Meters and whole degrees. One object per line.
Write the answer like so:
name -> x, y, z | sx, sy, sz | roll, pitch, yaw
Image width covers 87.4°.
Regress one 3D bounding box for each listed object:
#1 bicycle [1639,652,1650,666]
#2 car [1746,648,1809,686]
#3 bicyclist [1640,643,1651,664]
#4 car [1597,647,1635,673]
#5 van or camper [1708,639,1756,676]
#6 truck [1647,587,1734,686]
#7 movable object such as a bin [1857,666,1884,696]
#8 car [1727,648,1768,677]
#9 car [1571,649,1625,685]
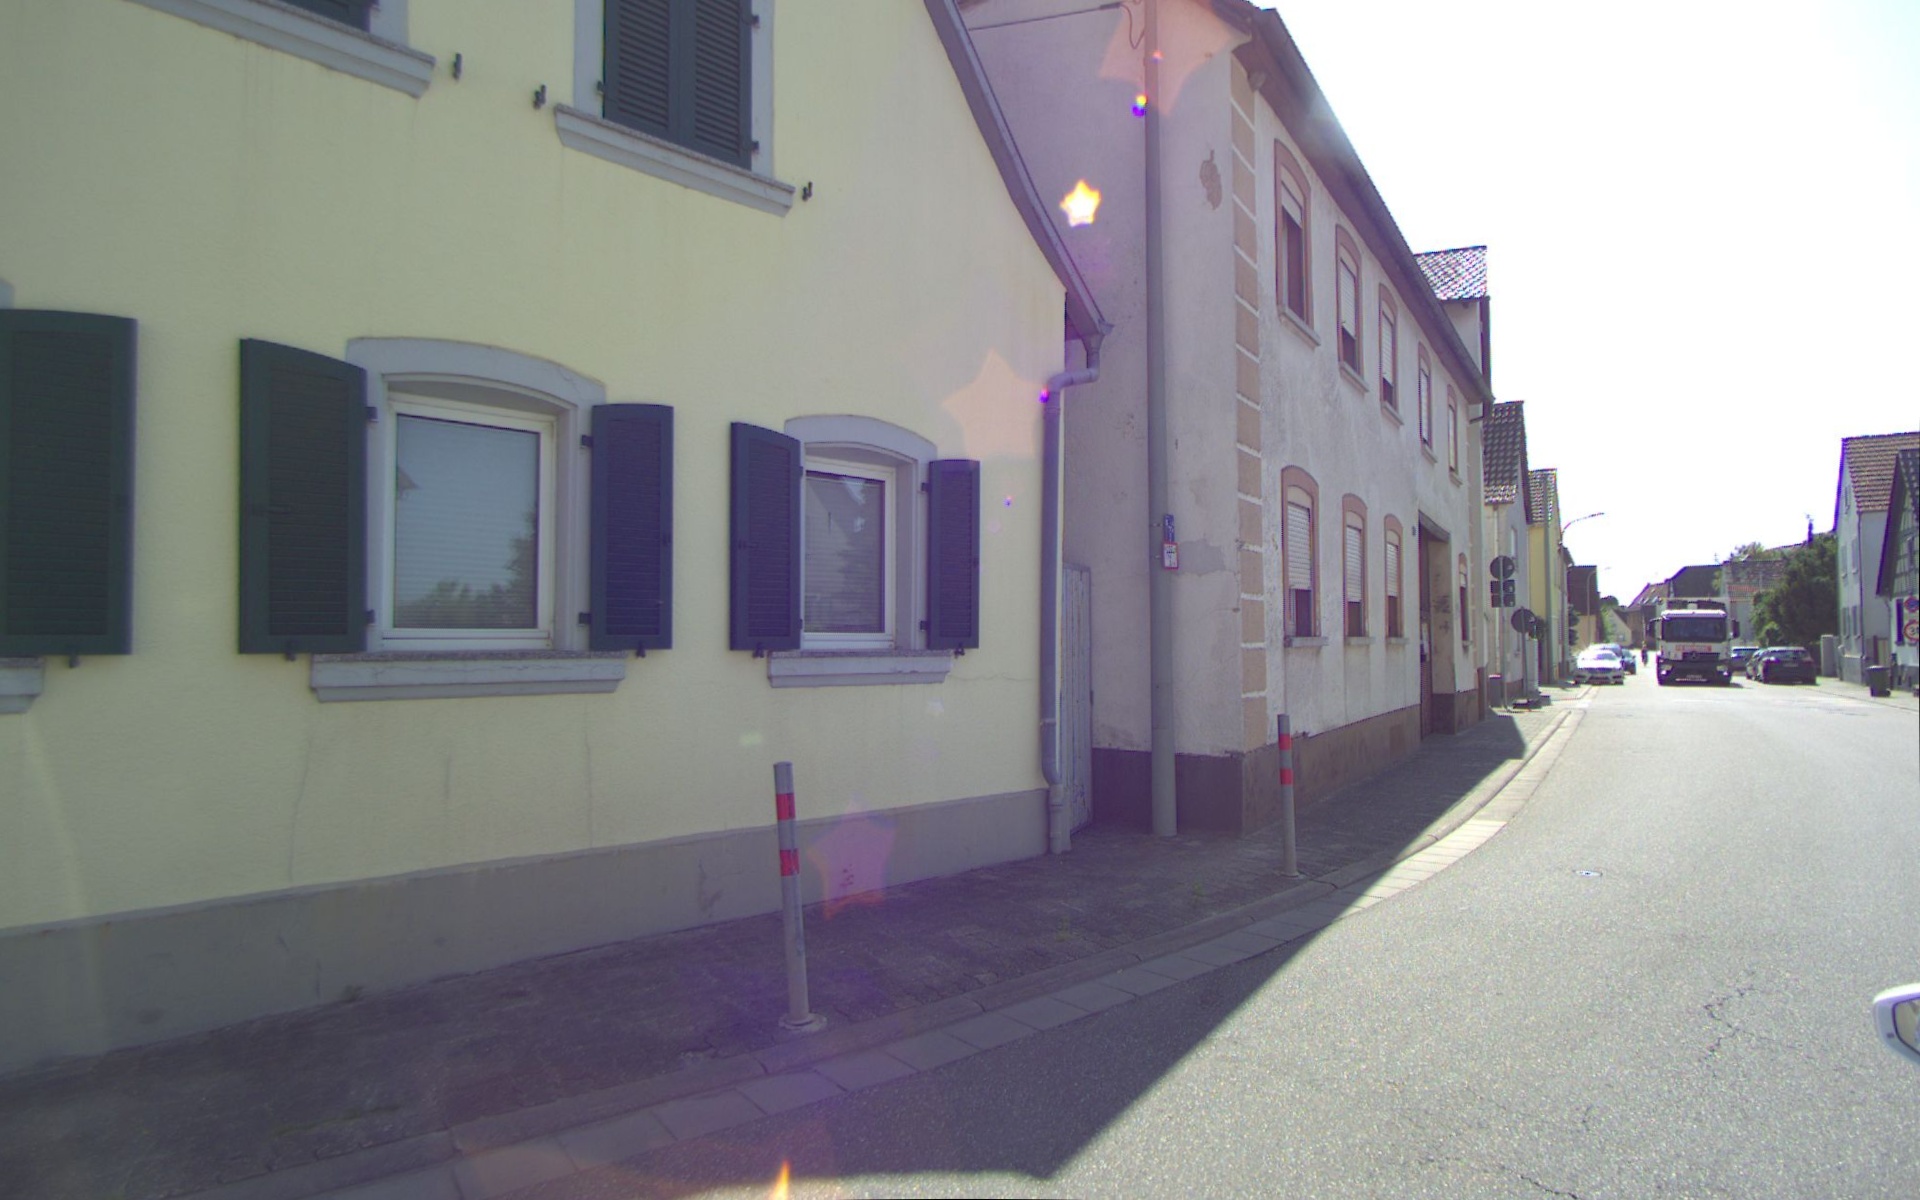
bicycle -> 57.607, 4.961, 84.526 | 0.581, 1.163, 1.945 | -2, -3, 30
car -> 36.376, 2.951, 44.783 | 1.774, 1.580, 4.618 | -2, -4, 34
bicyclist -> 57.696, 4.496, 84.552 | 0.694, 1.794, 0.623 | -2, -3, 33
car -> 40.906, 3.731, 62.631 | 1.820, 1.546, 4.751 | -2, -3, 35
van or camper -> 59.688, 4.436, 77.721 | 2.487, 2.732, 4.544 | -2, -4, 33
truck -> 31.899, 1.660, 43.974 | 2.661, 3.799, 10.833 | -2, -3, 36
movable object such as a bin -> 28.722, 2.544, 31.694 | 0.547, 0.925, 0.534 | 3, -4, -39
car -> 45.661, 3.592, 58.289 | 1.771, 1.652, 4.344 | -2, -3, 37
car -> 27.885, 2.908, 43.987 | 1.808, 1.483, 4.263 | -2, -4, 31
